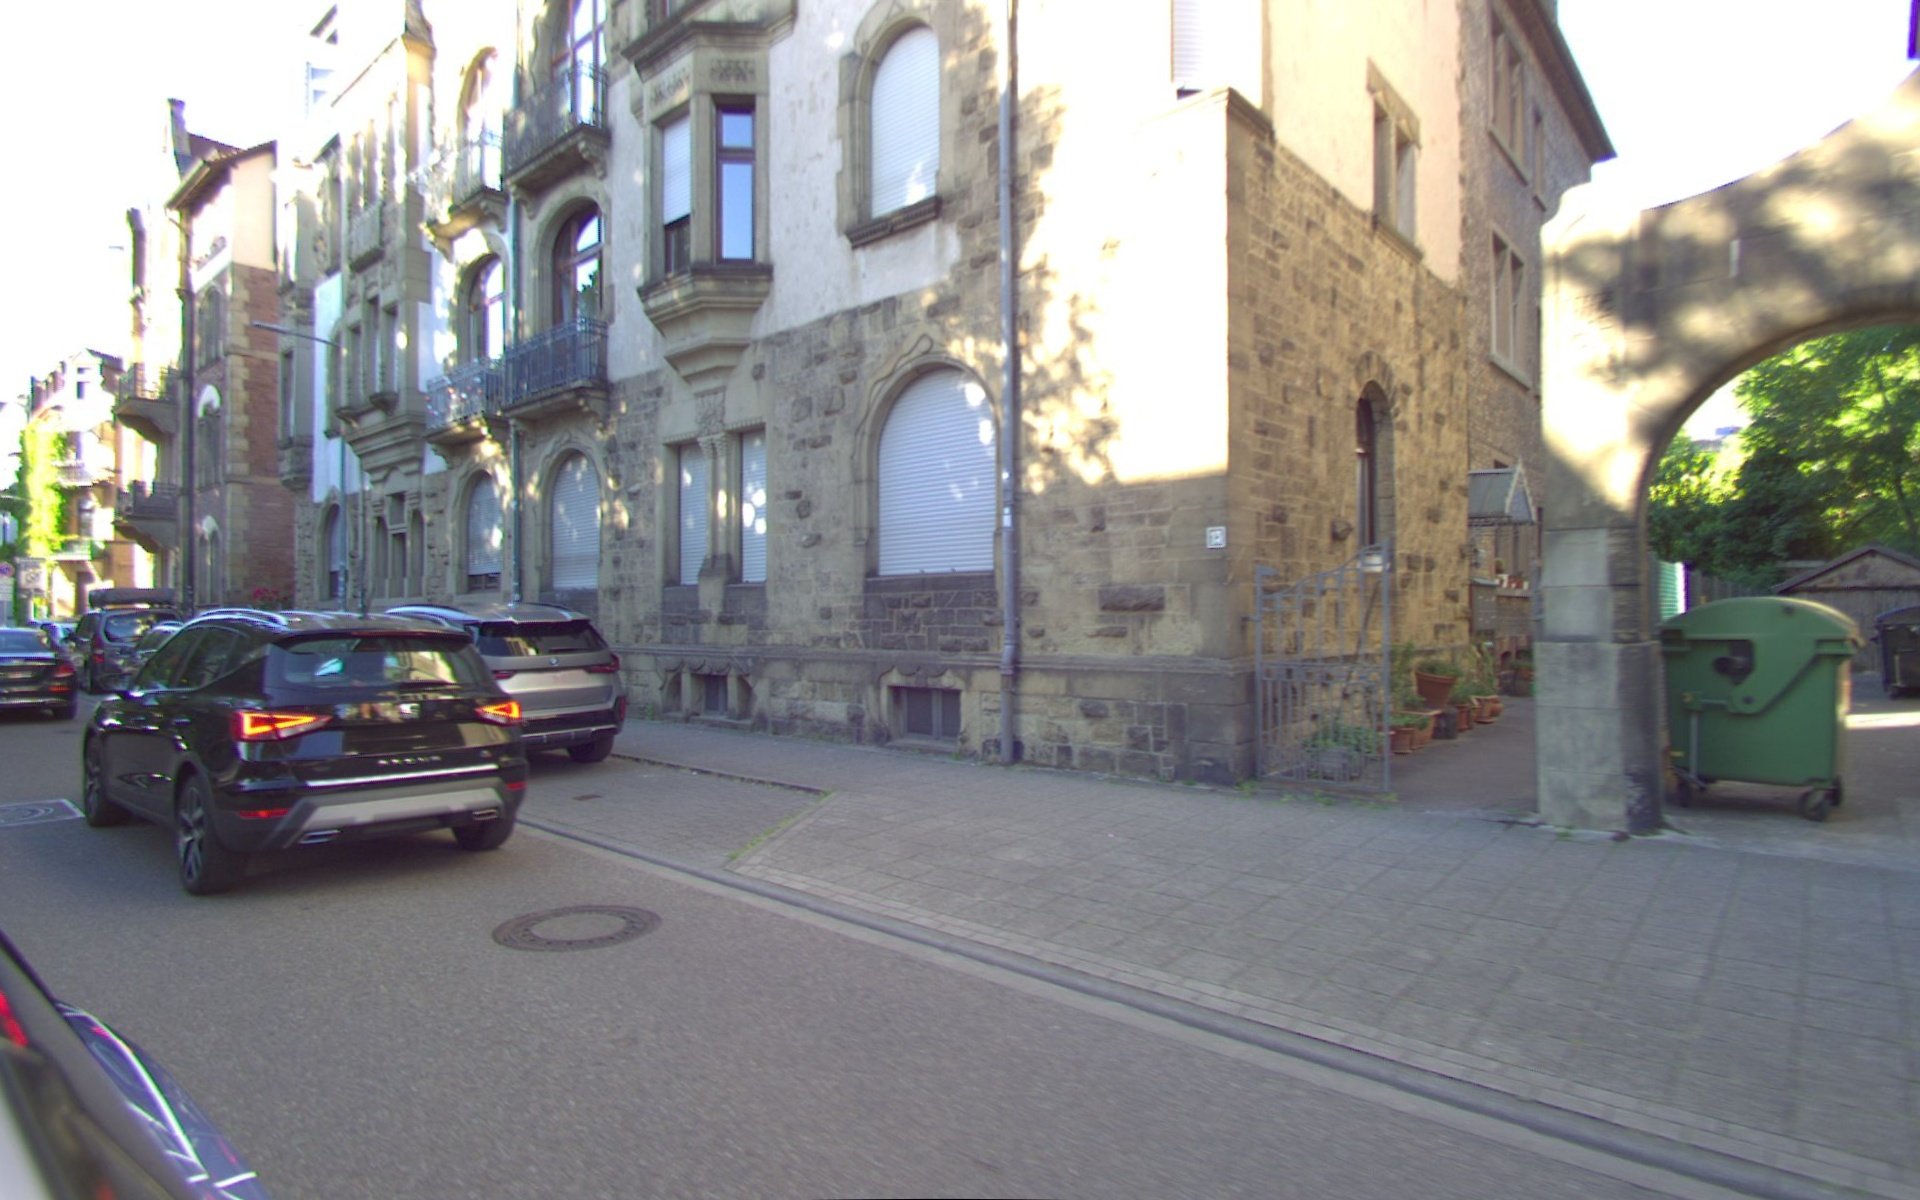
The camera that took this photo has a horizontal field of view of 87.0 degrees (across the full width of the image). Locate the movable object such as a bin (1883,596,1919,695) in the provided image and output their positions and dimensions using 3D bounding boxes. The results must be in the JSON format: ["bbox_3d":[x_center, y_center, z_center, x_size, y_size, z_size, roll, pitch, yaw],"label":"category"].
[{"bbox_3d":[14.998,0.683,15.540,1.173,1.489,1.180,-1,0,41],"label":"movable object such as a bin"}]

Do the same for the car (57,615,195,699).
[{"bbox_3d":[-18.750,1.189,22.692,4.210,1.680,1.751,-1,0,41],"label":"car"}]

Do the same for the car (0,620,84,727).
[{"bbox_3d":[-15.492,1.097,15.971,4.565,1.474,1.844,0,0,40],"label":"car"}]

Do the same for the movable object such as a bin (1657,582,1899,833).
[{"bbox_3d":[5.498,0.635,6.837,1.173,1.489,1.180,-1,0,41],"label":"movable object such as a bin"}]

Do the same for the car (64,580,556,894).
[{"bbox_3d":[-4.397,0.711,6.642,3.756,1.489,1.610,-1,-3,39],"label":"car"}]

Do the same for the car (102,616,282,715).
[{"bbox_3d":[-13.924,1.088,18.260,4.210,1.512,1.751,0,-1,41],"label":"car"}]

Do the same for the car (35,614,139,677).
[{"bbox_3d":[-23.263,1.213,26.924,3.854,1.458,1.612,-3,1,42],"label":"car"}]

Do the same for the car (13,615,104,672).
[{"bbox_3d":[-27.050,1.312,30.330,3.854,1.516,1.612,-3,1,42],"label":"car"}]

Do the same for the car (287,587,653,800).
[{"bbox_3d":[-5.168,0.803,10.388,4.337,1.730,1.856,-2,-1,41],"label":"car"}]
